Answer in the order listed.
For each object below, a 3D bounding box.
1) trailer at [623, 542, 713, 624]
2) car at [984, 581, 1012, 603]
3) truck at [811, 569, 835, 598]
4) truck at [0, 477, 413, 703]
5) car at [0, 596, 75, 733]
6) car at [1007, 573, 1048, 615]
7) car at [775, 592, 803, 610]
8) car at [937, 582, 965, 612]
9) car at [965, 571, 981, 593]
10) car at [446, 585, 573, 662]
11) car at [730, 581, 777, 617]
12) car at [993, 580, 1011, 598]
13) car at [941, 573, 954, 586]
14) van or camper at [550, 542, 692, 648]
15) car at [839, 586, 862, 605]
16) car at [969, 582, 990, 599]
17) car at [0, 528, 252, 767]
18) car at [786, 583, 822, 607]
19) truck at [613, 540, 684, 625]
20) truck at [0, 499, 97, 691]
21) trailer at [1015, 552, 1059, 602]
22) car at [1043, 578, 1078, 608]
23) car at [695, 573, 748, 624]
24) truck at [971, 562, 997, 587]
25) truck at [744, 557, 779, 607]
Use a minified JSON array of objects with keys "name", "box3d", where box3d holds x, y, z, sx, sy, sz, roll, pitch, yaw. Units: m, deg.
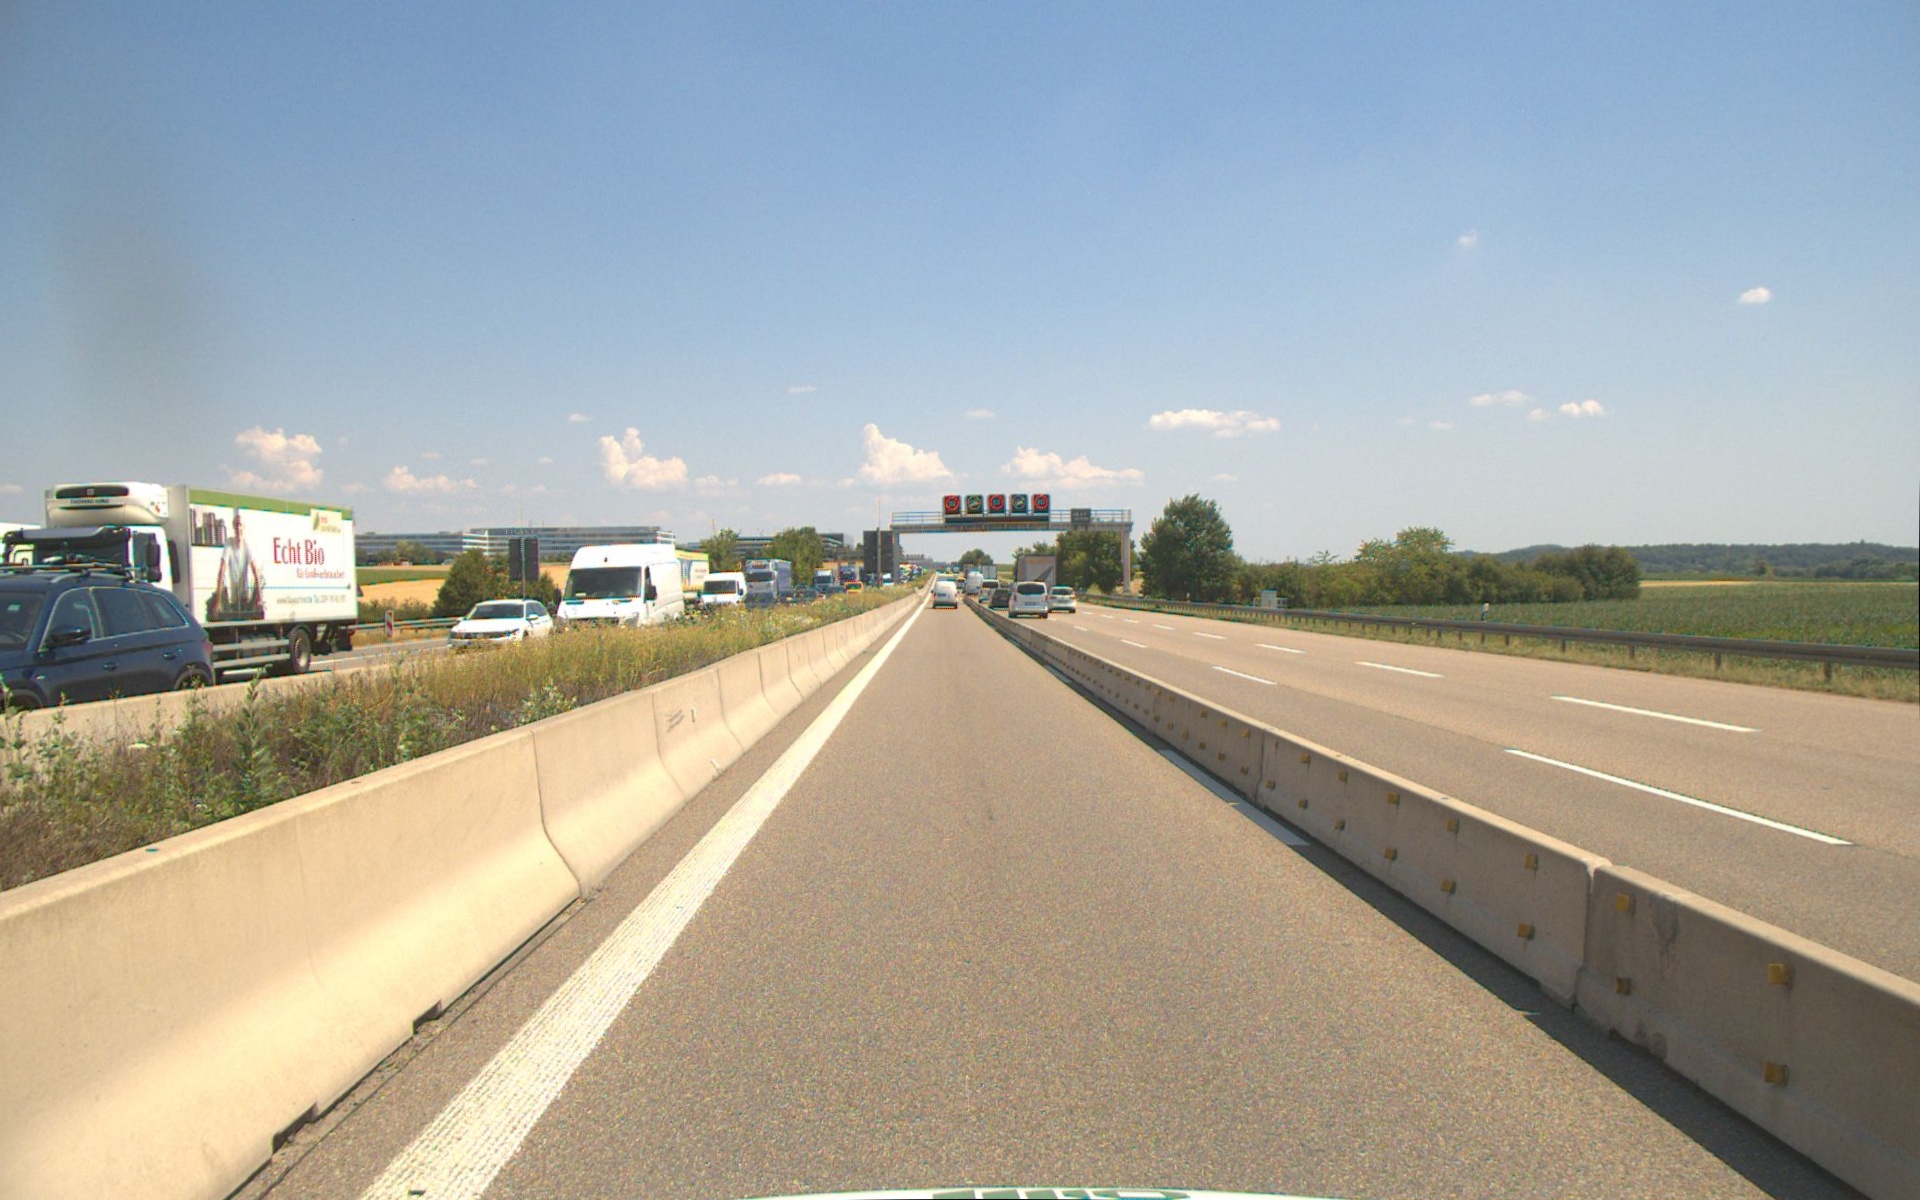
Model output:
[{"name":"trailer","box3d":[-16.156,-0.953,92.606,2.753,4.200,14.127,-1,1,-1]},{"name":"car","box3d":[2.550,-0.531,111.619,1.737,1.472,3.999,0,0,-1]},{"name":"truck","box3d":[-17.770,-2.095,215.169,2.643,3.650,4.000,-2,1,0]},{"name":"truck","box3d":[-15.036,-0.218,34.484,2.738,3.672,13.288,-3,0,0]},{"name":"car","box3d":[-12.397,0.802,19.756,1.527,1.650,4.044,-1,1,-1]},{"name":"car","box3d":[3.543,-0.299,87.191,1.953,2.157,3.999,0,0,-1]},{"name":"car","box3d":[-12.696,0.108,123.013,1.712,1.288,4.433,1,0,-1]},{"name":"car","box3d":[-0.634,-0.184,114.193,1.953,2.049,3.999,0,0,-1]},{"name":"car","box3d":[1.515,-1.998,188.411,1.737,2.434,3.999,0,0,-1]},{"name":"car","box3d":[-11.347,0.533,42.051,1.848,1.739,5.520,-2,1,-2]},{"name":"car","box3d":[-9.095,-0.069,73.230,1.565,1.494,4.532,-1,1,-1]},{"name":"car","box3d":[4.996,-1.285,195.808,1.953,2.049,3.999,0,0,-1]},{"name":"car","box3d":[-1.957,-3.049,249.871,1.953,1.867,3.999,0,0,-1]},{"name":"van or camper","box3d":[-7.901,-0.147,39.350,1.994,2.260,7.206,1,0,-1]},{"name":"car","box3d":[-9.756,-0.398,147.822,1.856,1.606,4.935,1,-1,-1]},{"name":"car","box3d":[1.725,-0.869,145.954,1.737,1.472,3.999,0,0,-1]},{"name":"car","box3d":[-7.372,0.308,12.950,1.746,1.617,4.540,0,0,-1]},{"name":"car","box3d":[-9.266,-0.272,98.332,1.743,1.358,4.928,1,0,-1]},{"name":"truck","box3d":[-15.994,-0.895,85.254,2.753,4.200,4.841,-1,1,-1]},{"name":"truck","box3d":[-20.693,0.006,29.620,2.839,3.842,13.293,-3,0,2]},{"name":"trailer","box3d":[6.423,-1.892,139.543,3.211,4.036,9.111,0,0,-1]},{"name":"car","box3d":[6.357,-0.436,104.983,1.953,1.825,3.999,0,0,-1]},{"name":"car","box3d":[-12.531,-0.115,87.296,2.005,2.545,5.811,-1,1,-1]},{"name":"truck","box3d":[3.809,-4.055,264.909,3.738,3.973,9.578,-1,1,-1]},{"name":"truck","box3d":[-16.932,-1.531,141.493,2.362,4.158,4.659,-1,0,0]}]
